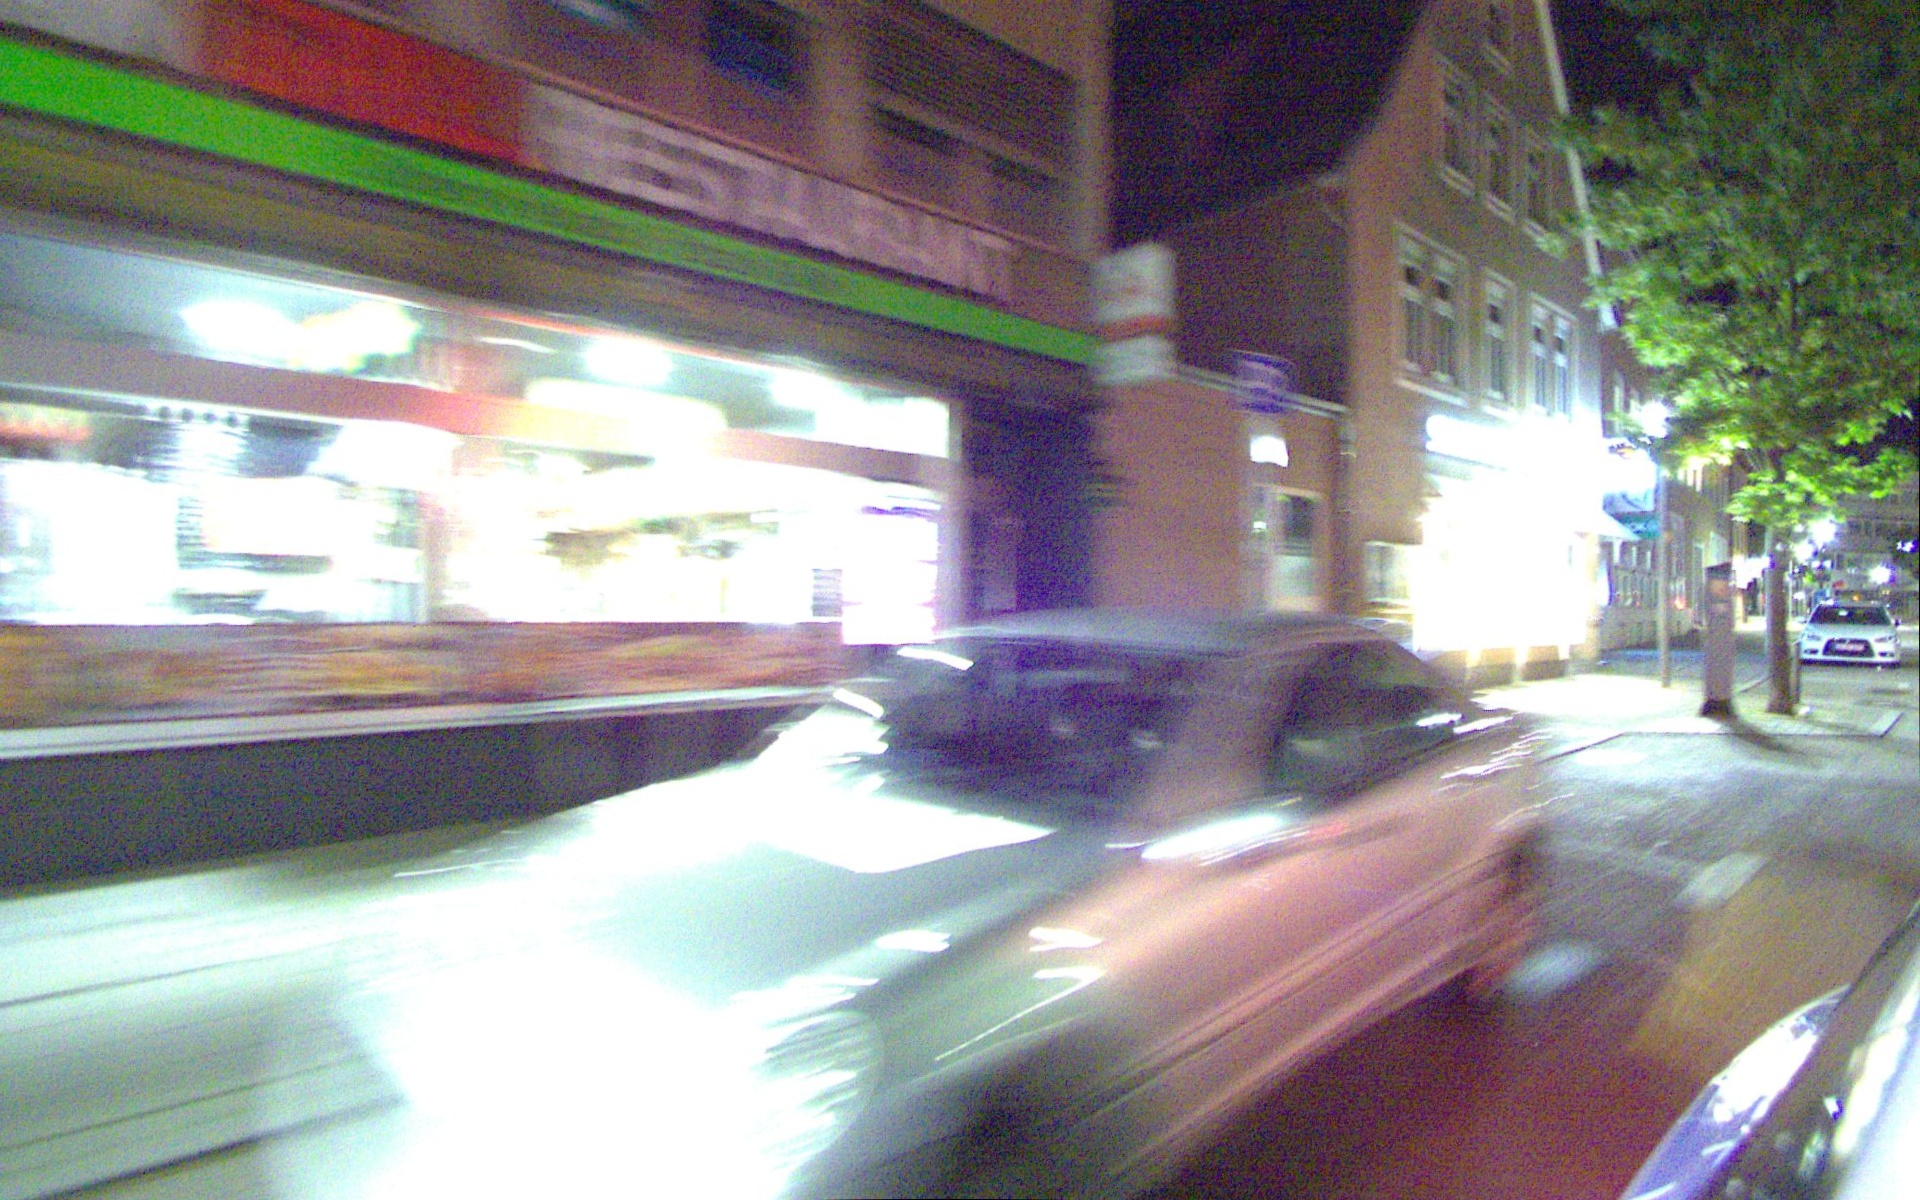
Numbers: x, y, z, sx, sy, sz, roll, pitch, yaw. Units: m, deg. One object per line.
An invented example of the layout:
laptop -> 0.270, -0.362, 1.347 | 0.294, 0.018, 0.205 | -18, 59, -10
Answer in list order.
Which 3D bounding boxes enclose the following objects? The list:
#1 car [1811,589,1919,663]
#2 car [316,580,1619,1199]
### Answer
car -> 21.305, 0.532, 23.866 | 1.741, 1.506, 4.566 | 1, 2, 42
car -> 0.642, 0.704, 3.355 | 1.735, 1.459, 4.424 | 1, 1, 45
